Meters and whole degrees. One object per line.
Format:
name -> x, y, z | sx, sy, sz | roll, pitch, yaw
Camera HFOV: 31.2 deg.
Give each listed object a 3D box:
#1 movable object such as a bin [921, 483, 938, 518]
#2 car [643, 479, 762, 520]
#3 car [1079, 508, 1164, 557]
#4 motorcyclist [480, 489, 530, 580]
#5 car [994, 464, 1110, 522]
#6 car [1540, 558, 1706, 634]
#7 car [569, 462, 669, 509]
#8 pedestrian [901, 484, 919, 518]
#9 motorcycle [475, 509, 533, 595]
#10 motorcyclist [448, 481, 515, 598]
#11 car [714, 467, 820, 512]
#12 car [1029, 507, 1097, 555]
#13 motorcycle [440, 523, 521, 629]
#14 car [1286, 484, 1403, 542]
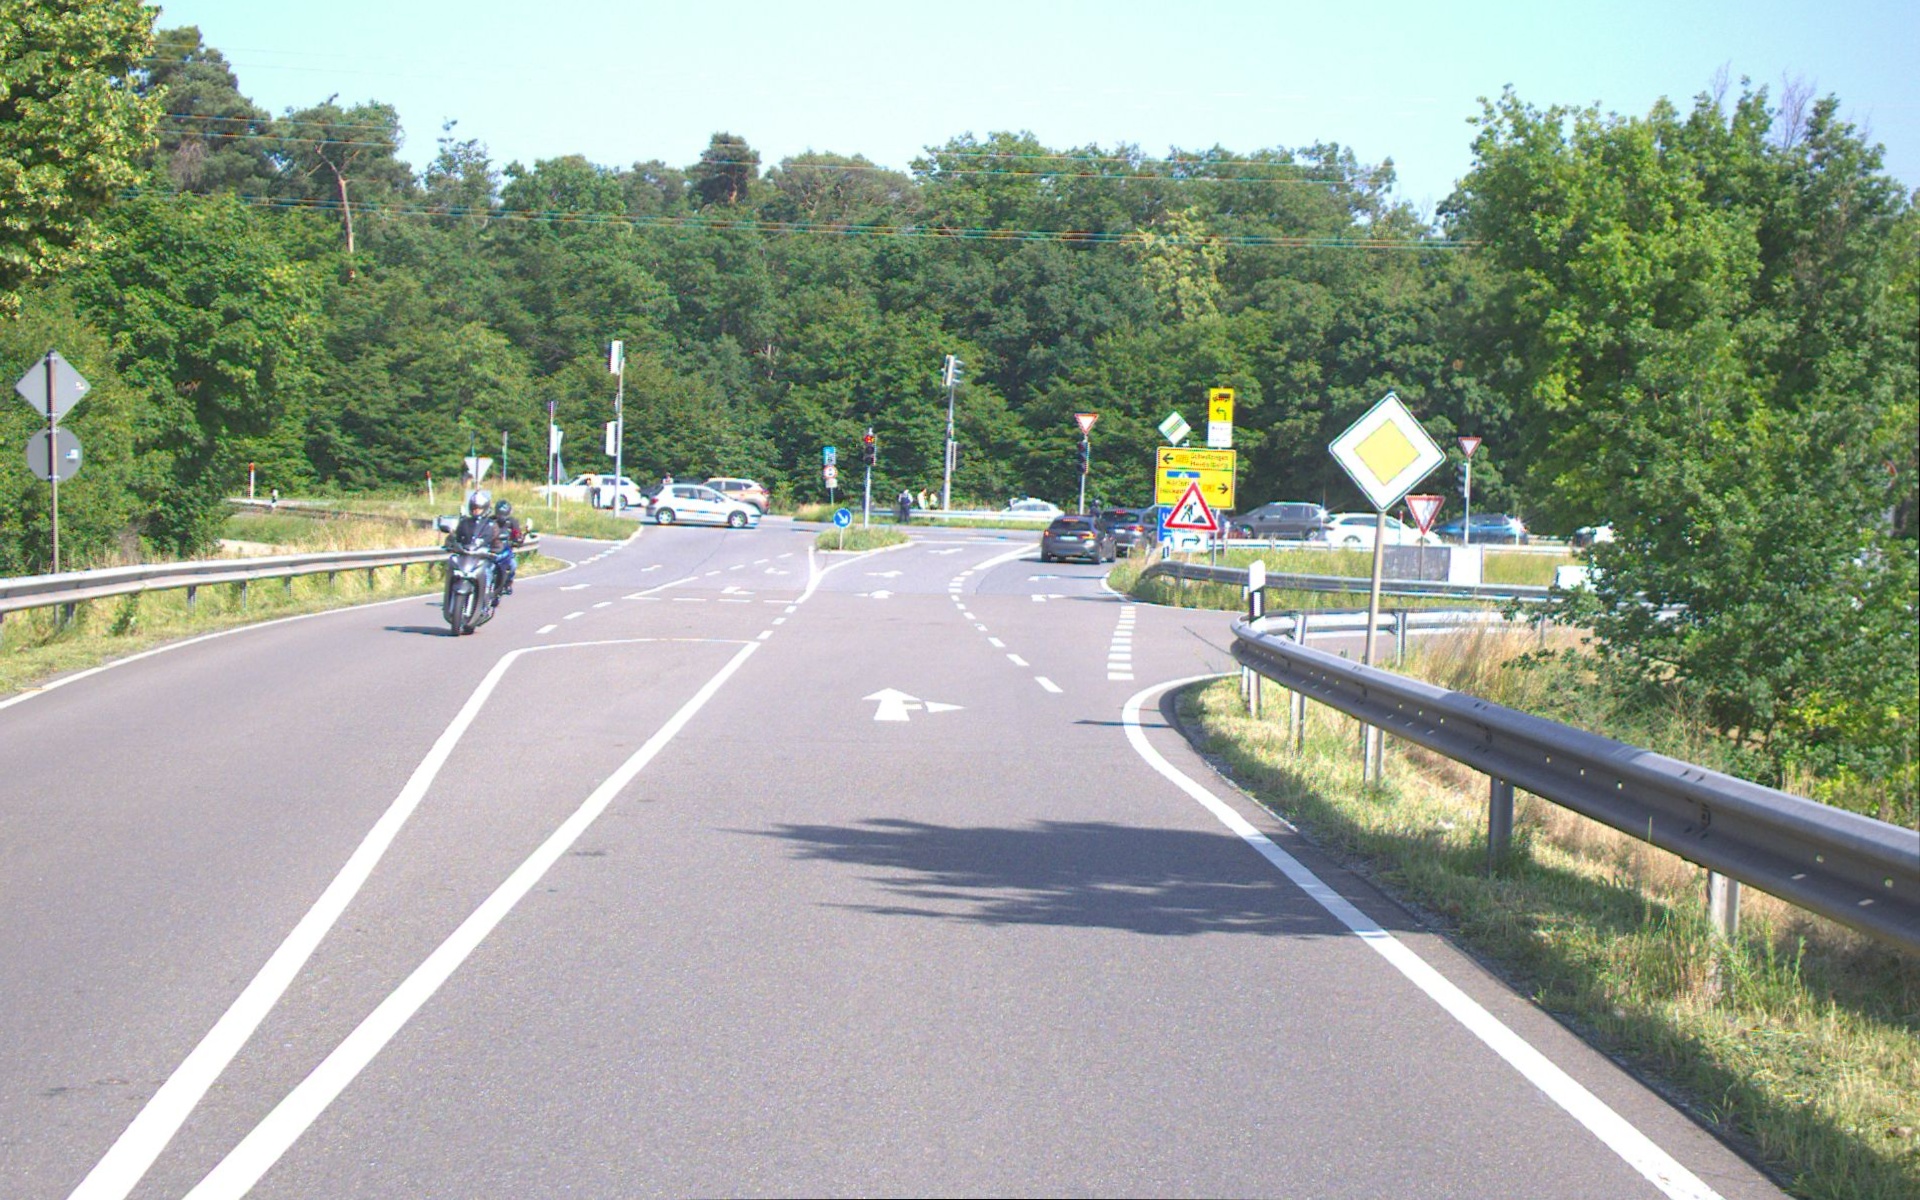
movable object such as a bin -> -1.280, -4.156, 143.421 | 0.602, 1.483, 0.732 | 0, 1, 7
car -> -9.374, -3.660, 125.011 | 4.227, 1.454, 2.001 | 0, 2, -7
car -> 5.298, -2.202, 112.167 | 1.801, 1.495, 3.997 | 3, 2, 17
motorcyclist -> -7.086, -1.029, 53.572 | 0.699, 1.403, 0.979 | 0, 2, -2
car -> 3.413, -3.966, 127.521 | 3.986, 2.006, 1.801 | 1, 3, -8
car -> 18.289, -0.129, 94.797 | 4.357, 1.777, 1.901 | 4, 2, 12
car -> -14.897, -5.005, 150.263 | 3.986, 2.006, 1.796 | 0, 2, -22
pedestrian -> -2.068, -4.109, 142.909 | 0.524, 1.386, 0.513 | 1, 2, 36
motorcycle -> -7.085, -0.754, 53.495 | 0.717, 1.304, 2.182 | 0, 2, -3
motorcyclist -> -5.814, -0.740, 41.795 | 0.699, 1.403, 0.784 | 0, 1, 0
car -> -7.650, -4.382, 136.083 | 3.986, 1.744, 1.764 | 0, 2, -11
car -> 3.166, -2.129, 105.007 | 1.800, 1.393, 3.999 | -1, 1, 6
motorcycle -> -5.818, -0.308, 41.800 | 0.717, 1.246, 2.078 | 0, 2, -1
car -> 14.342, -3.255, 128.331 | 3.986, 2.006, 1.801 | 2, 3, -4
